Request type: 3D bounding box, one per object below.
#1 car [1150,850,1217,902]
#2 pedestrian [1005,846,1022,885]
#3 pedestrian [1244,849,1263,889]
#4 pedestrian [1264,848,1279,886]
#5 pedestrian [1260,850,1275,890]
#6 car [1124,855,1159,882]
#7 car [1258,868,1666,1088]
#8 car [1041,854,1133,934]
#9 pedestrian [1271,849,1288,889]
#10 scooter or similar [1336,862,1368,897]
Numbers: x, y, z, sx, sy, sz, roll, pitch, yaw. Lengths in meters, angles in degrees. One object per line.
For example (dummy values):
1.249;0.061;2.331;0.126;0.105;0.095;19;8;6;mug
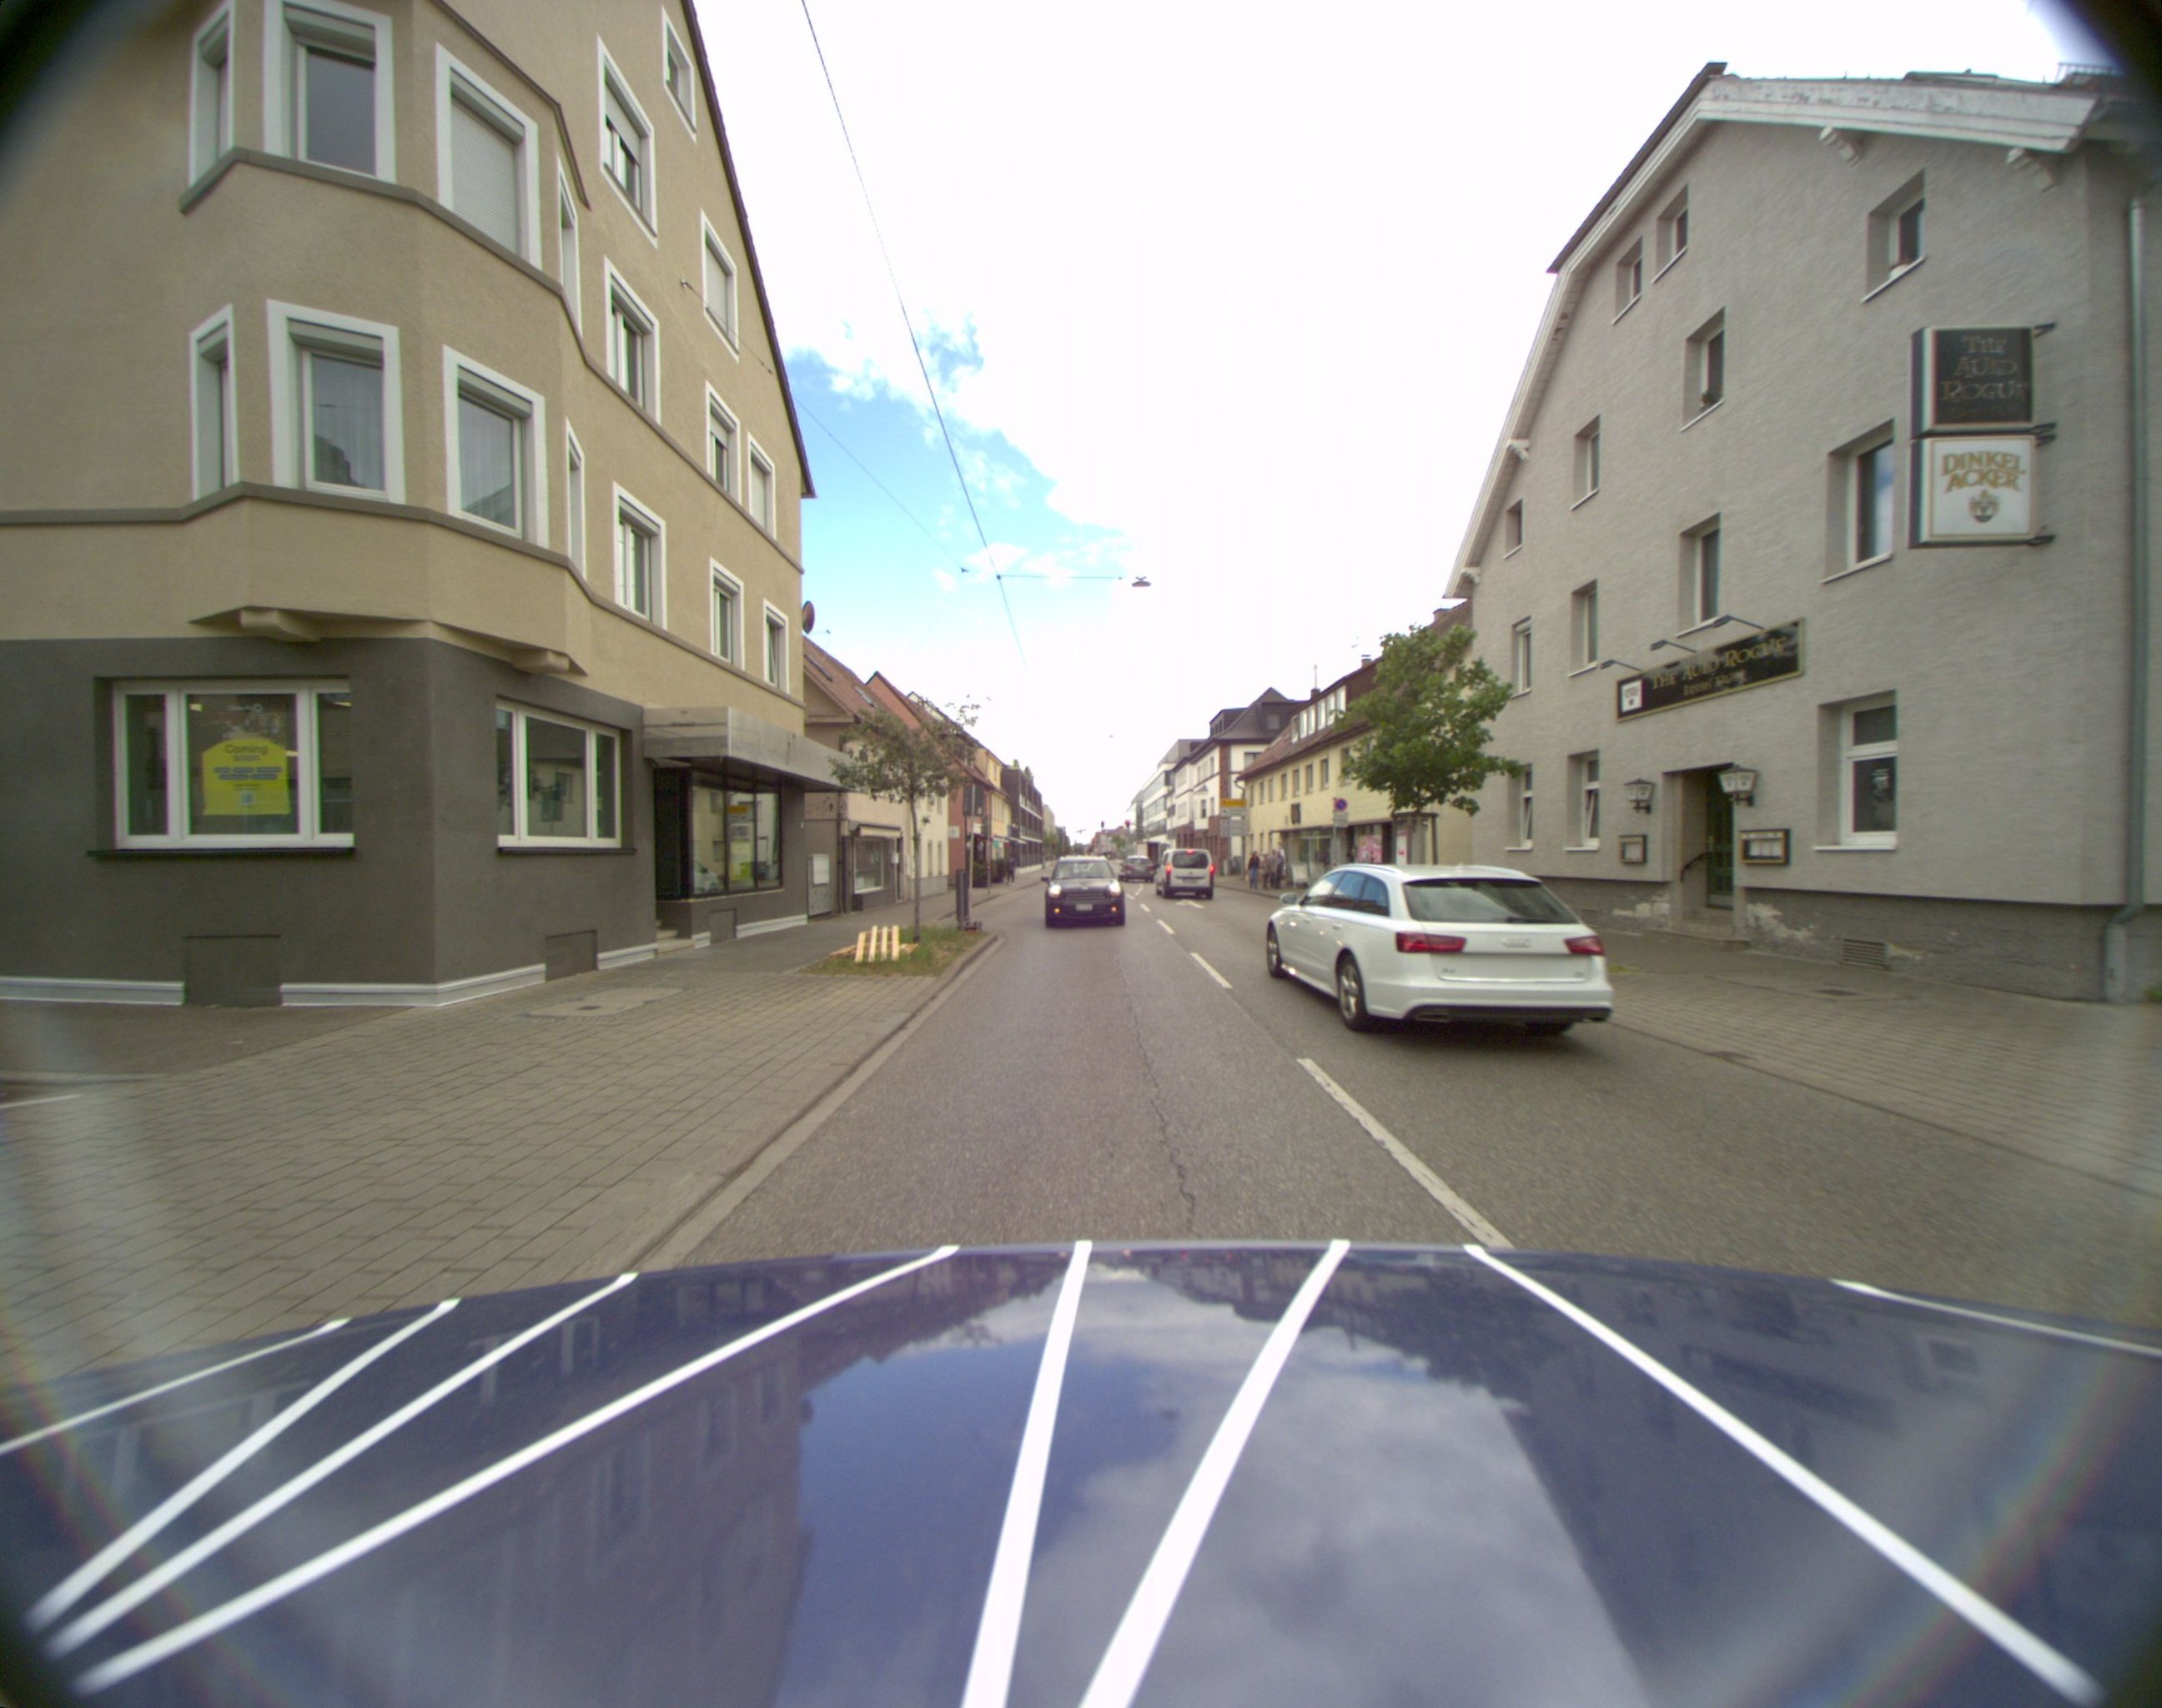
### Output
3.759;0.758;28.536;1.998;1.785;4.277;0;0;1;car
-3.735;0.626;42.125;0.826;2.062;1.010;2;1;-3;pedestrian
7.672;0.663;33.759;0.679;1.727;0.717;0;1;1;pedestrian
8.701;0.573;34.730;0.555;1.727;0.648;0;1;1;pedestrian
8.097;0.695;33.063;0.497;1.727;0.648;0;1;1;pedestrian
3.627;0.842;46.351;1.784;1.543;4.074;2;0;0;car
3.207;0.912;7.621;1.847;1.425;4.543;1;0;1;car
0.163;0.848;18.153;1.847;1.571;4.429;-3;0;1;car
8.683;0.641;33.252;0.555;1.727;0.648;0;1;1;pedestrian
9.457;0.869;26.568;0.529;1.163;1.721;-2;0;1;scooter or similar
